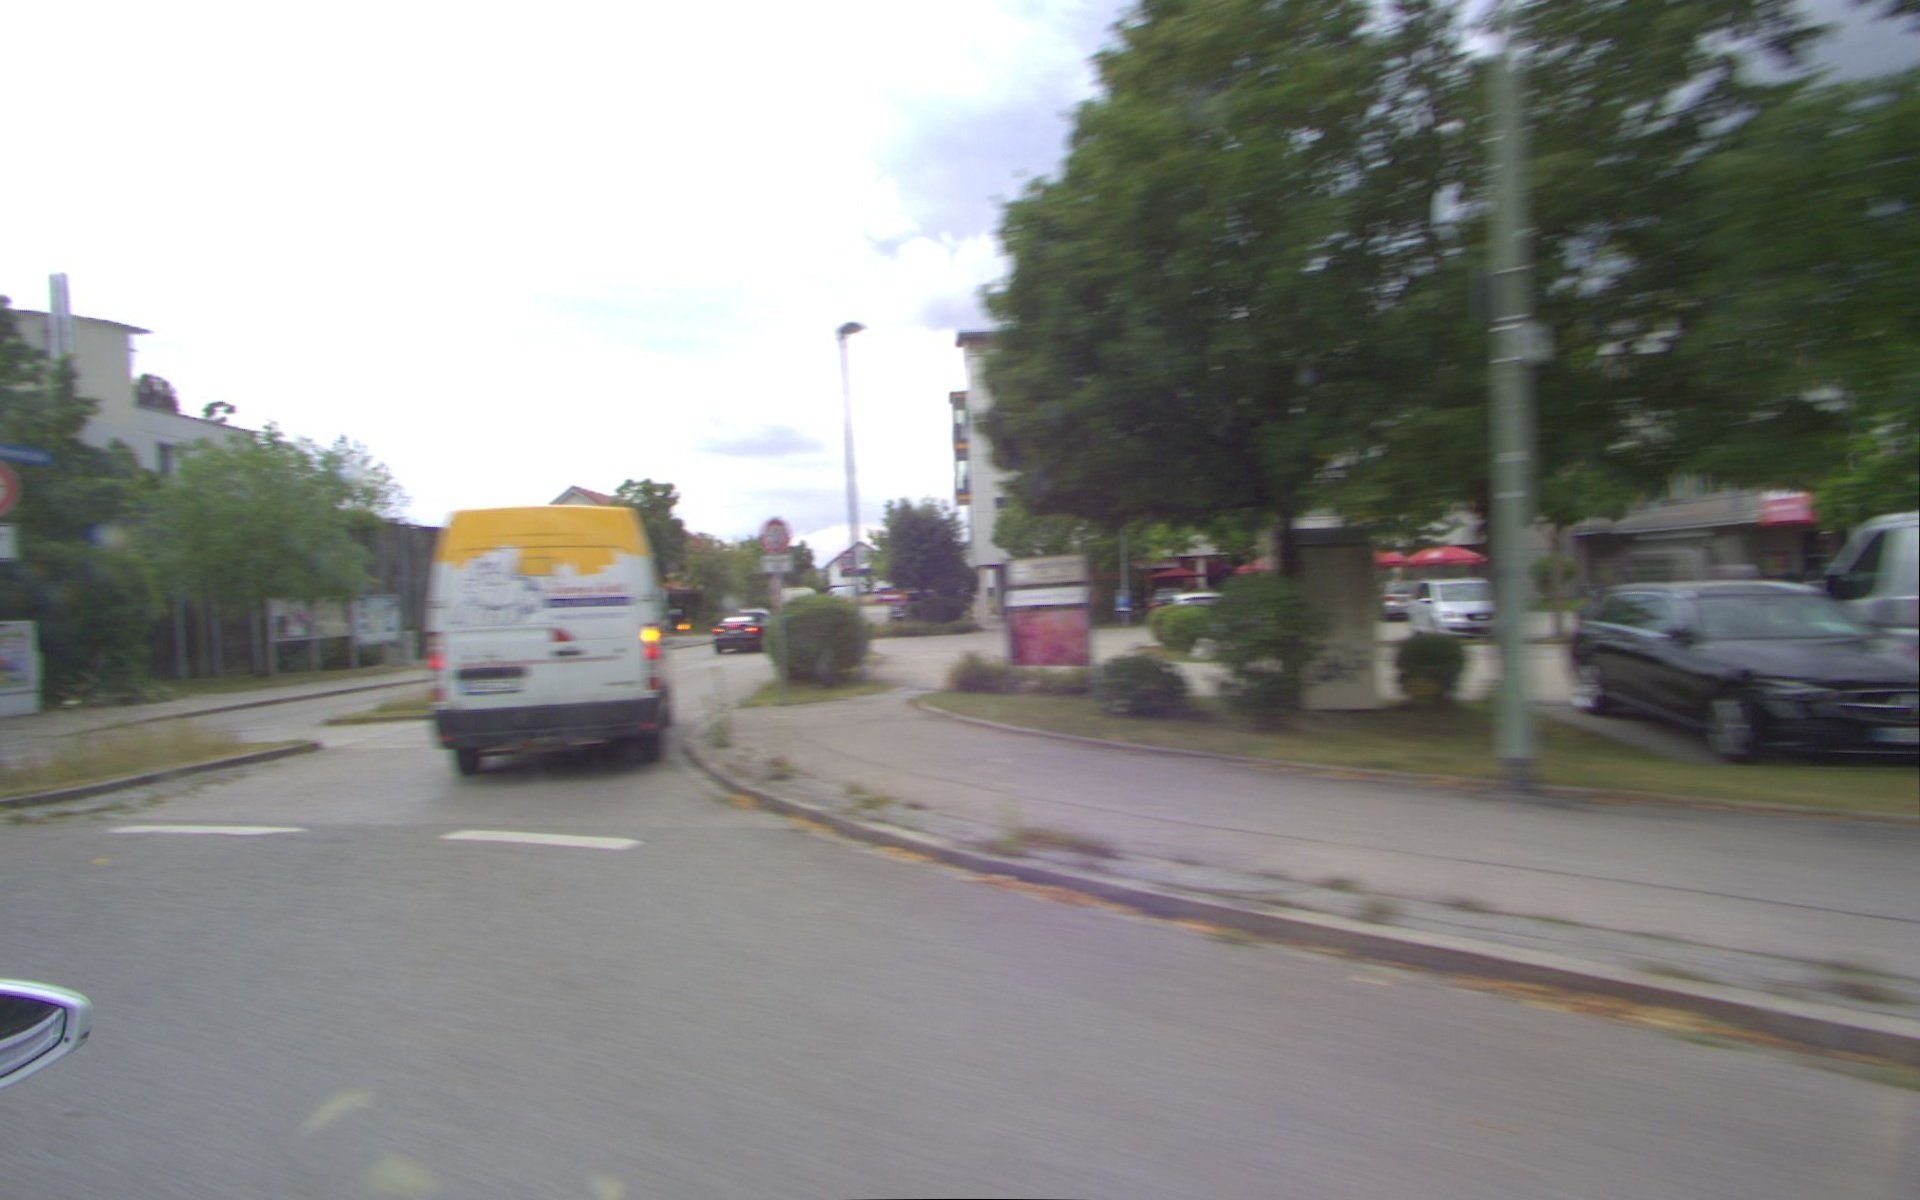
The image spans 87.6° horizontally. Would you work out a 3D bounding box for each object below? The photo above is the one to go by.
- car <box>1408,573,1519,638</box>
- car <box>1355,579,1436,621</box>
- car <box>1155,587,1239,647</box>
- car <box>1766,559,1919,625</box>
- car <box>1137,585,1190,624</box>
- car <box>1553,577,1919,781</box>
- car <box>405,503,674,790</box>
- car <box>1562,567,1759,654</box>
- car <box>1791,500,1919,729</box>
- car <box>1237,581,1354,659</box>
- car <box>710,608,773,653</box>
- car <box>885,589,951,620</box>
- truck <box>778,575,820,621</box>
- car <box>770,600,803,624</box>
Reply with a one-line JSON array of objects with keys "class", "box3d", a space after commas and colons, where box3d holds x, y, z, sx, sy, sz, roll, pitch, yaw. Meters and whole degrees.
[{"class": "car", "box3d": [13.161, 0.203, 26.428, 1.841, 1.530, 4.083, -2, -2, 16]}, {"class": "car", "box3d": [16.909, -0.010, 39.101, 1.786, 1.476, 3.998, -2, 1, 7]}, {"class": "car", "box3d": [6.522, 0.471, 27.934, 1.786, 1.476, 4.000, -2, -1, 7]}, {"class": "car", "box3d": [22.424, -0.142, 25.140, 1.778, 1.475, 4.085, -2, -2, 14]}, {"class": "car", "box3d": [8.420, 0.146, 41.780, 1.786, 1.476, 3.998, -2, 1, 7]}, {"class": "car", "box3d": [7.551, 0.563, 9.685, 1.729, 1.513, 4.412, -2, 1, 11]}, {"class": "car", "box3d": [-4.462, 0.422, 11.567, 2.130, 2.484, 5.434, -2, 0, -16]}, {"class": "car", "box3d": [14.335, 0.187, 20.801, 1.787, 1.562, 3.997, -2, 0, 10]}, {"class": "car", "box3d": [10.142, 0.118, 9.112, 2.116, 2.188, 4.412, -2, 1, 11]}, {"class": "car", "box3d": [7.161, 0.379, 21.762, 1.787, 1.476, 3.997, -2, 1, 10]}, {"class": "car", "box3d": [-7.733, 1.039, 35.733, 1.766, 1.349, 3.997, -2, 1, -7]}, {"class": "car", "box3d": [-2.742, 0.300, 65.194, 3.944, 1.755, 1.645, -3, 0, -33]}, {"class": "truck", "box3d": [-11.695, -0.107, 73.059, 2.127, 3.116, 5.411, -2, 0, -1]}, {"class": "car", "box3d": [-11.388, 0.781, 66.021, 1.512, 1.398, 3.510, -3, 1, 0]}]
